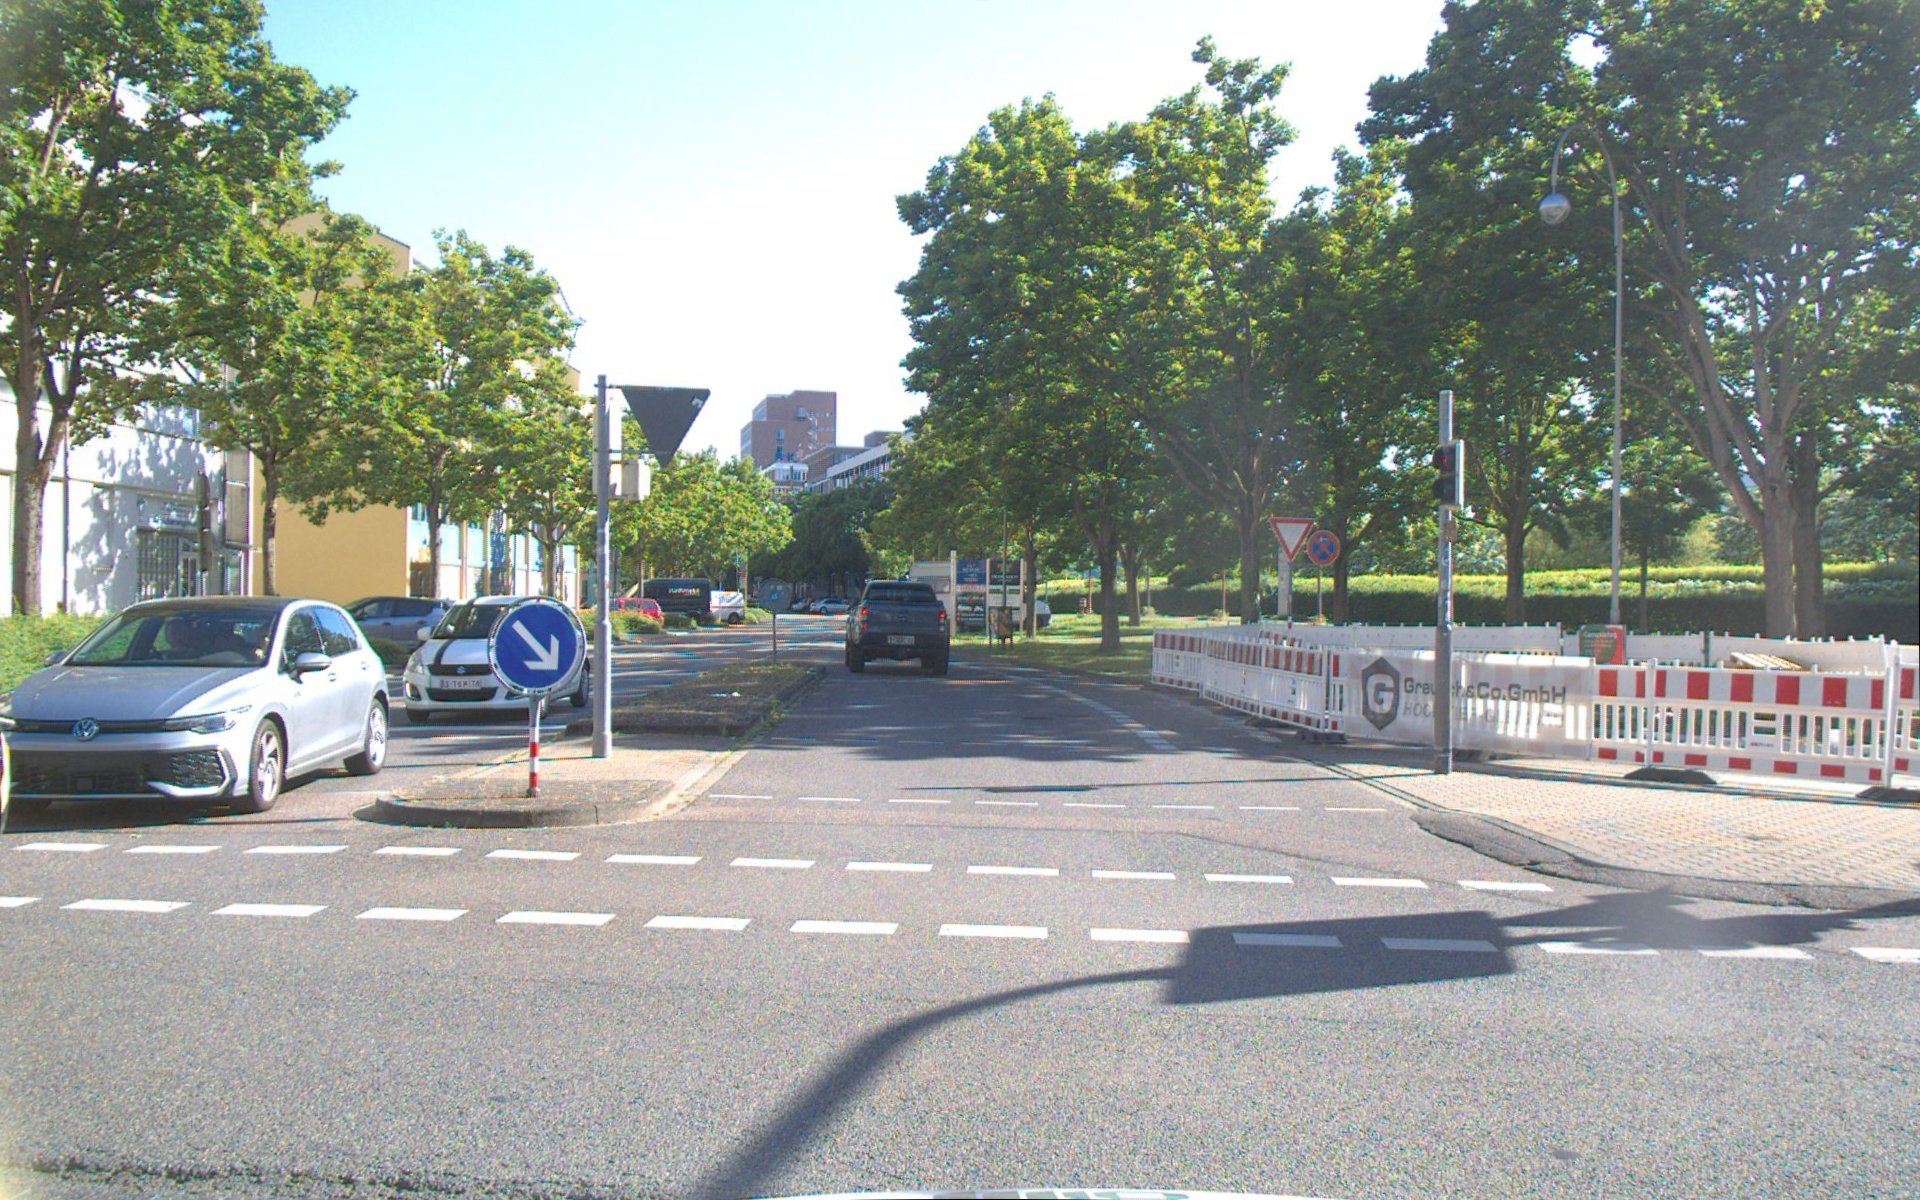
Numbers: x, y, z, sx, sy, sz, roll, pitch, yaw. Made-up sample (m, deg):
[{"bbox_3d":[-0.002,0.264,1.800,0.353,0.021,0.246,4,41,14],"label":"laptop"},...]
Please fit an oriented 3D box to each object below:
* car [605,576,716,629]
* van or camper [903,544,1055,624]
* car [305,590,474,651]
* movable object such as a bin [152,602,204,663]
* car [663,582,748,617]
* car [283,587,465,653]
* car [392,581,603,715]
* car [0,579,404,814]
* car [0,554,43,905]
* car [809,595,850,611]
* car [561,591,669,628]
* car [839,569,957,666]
[{"bbox_3d":[-15.125,0.106,83.493,5.200,2.590,1.967,0,0,-28],"label":"car"},{"bbox_3d":[0.713,-0.652,67.313,5.958,2.980,2.574,-2,0,-3],"label":"van or camper"},{"bbox_3d":[-14.917,0.548,43.290,3.839,1.536,1.807,1,-1,-34],"label":"car"},{"bbox_3d":[-13.161,0.543,27.859,0.503,0.993,0.639,1,0,8],"label":"movable object such as a bin"},{"bbox_3d":[-15.632,-0.041,101.769,4.848,2.119,1.959,0,0,-38],"label":"car"},{"bbox_3d":[-14.267,0.493,40.320,3.841,1.536,1.806,1,-1,-35],"label":"car"},{"bbox_3d":[-5.852,0.545,21.376,1.670,1.539,3.862,-1,1,-1],"label":"car"},{"bbox_3d":[-5.537,0.589,12.378,1.674,1.477,3.848,0,1,-4],"label":"car"},{"bbox_3d":[-4.824,0.583,5.538,1.755,1.540,4.107,0,1,-9],"label":"car"},{"bbox_3d":[-12.910,0.333,164.011,3.877,1.421,1.512,-2,0,-12],"label":"car"},{"bbox_3d":[-15.200,0.414,72.822,4.355,1.579,1.905,0,0,-27],"label":"car"},{"bbox_3d":[-1.375,0.311,34.440,2.092,1.867,4.933,0,1,-7],"label":"car"}]
